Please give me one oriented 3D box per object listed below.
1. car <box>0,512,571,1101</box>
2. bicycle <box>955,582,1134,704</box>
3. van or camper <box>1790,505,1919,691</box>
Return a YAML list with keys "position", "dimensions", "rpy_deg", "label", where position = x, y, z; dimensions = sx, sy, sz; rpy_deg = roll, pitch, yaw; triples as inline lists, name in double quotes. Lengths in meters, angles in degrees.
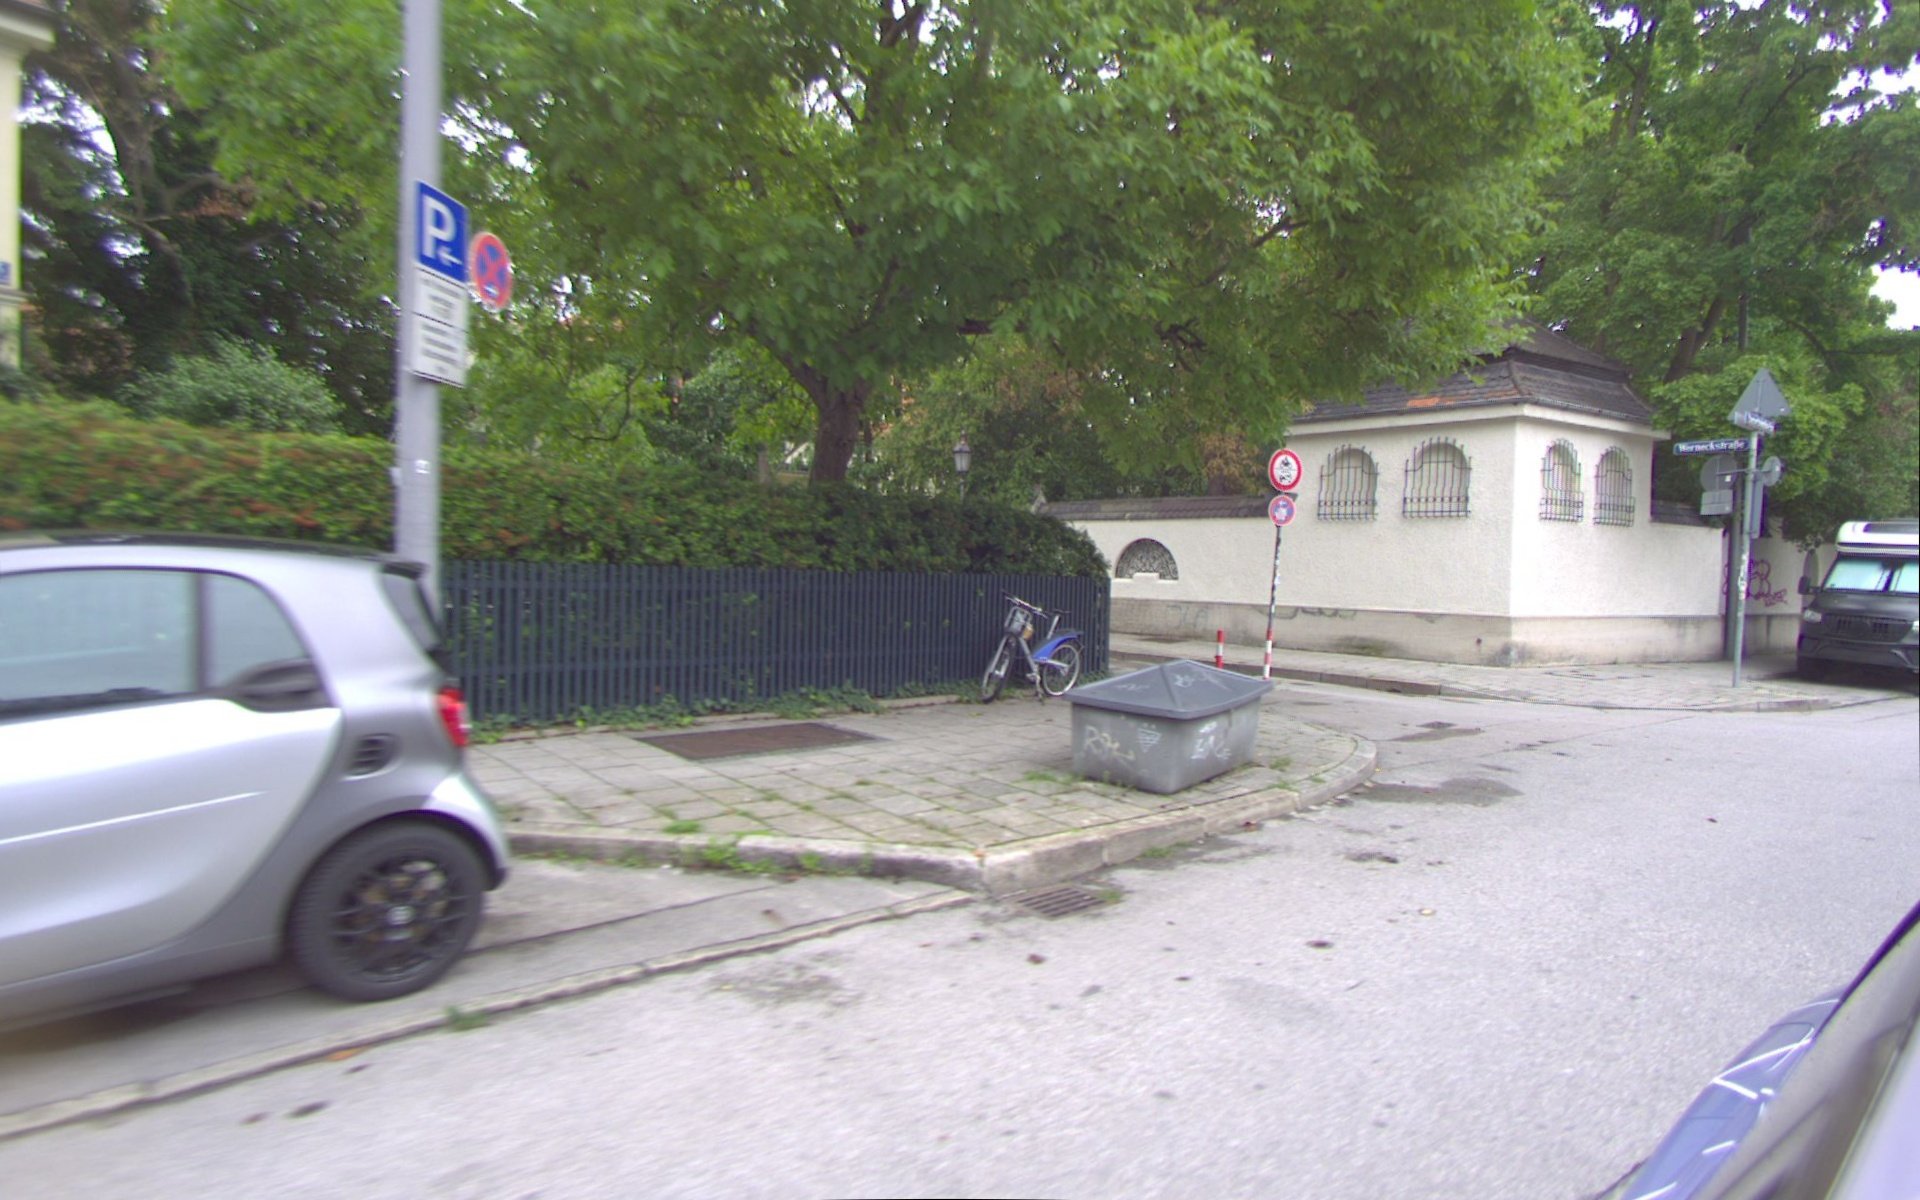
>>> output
- position: [-3.083, 0.498, 3.336]
  dimensions: [1.740, 1.554, 2.899]
  rpy_deg: [5, 4, 44]
  label: "car"
- position: [0.941, 0.423, 10.867]
  dimensions: [1.940, 1.176, 0.807]
  rpy_deg: [1, 2, -44]
  label: "bicycle"
- position: [17.894, -0.016, 18.472]
  dimensions: [7.137, 2.942, 2.281]
  rpy_deg: [1, 2, -35]
  label: "van or camper"
